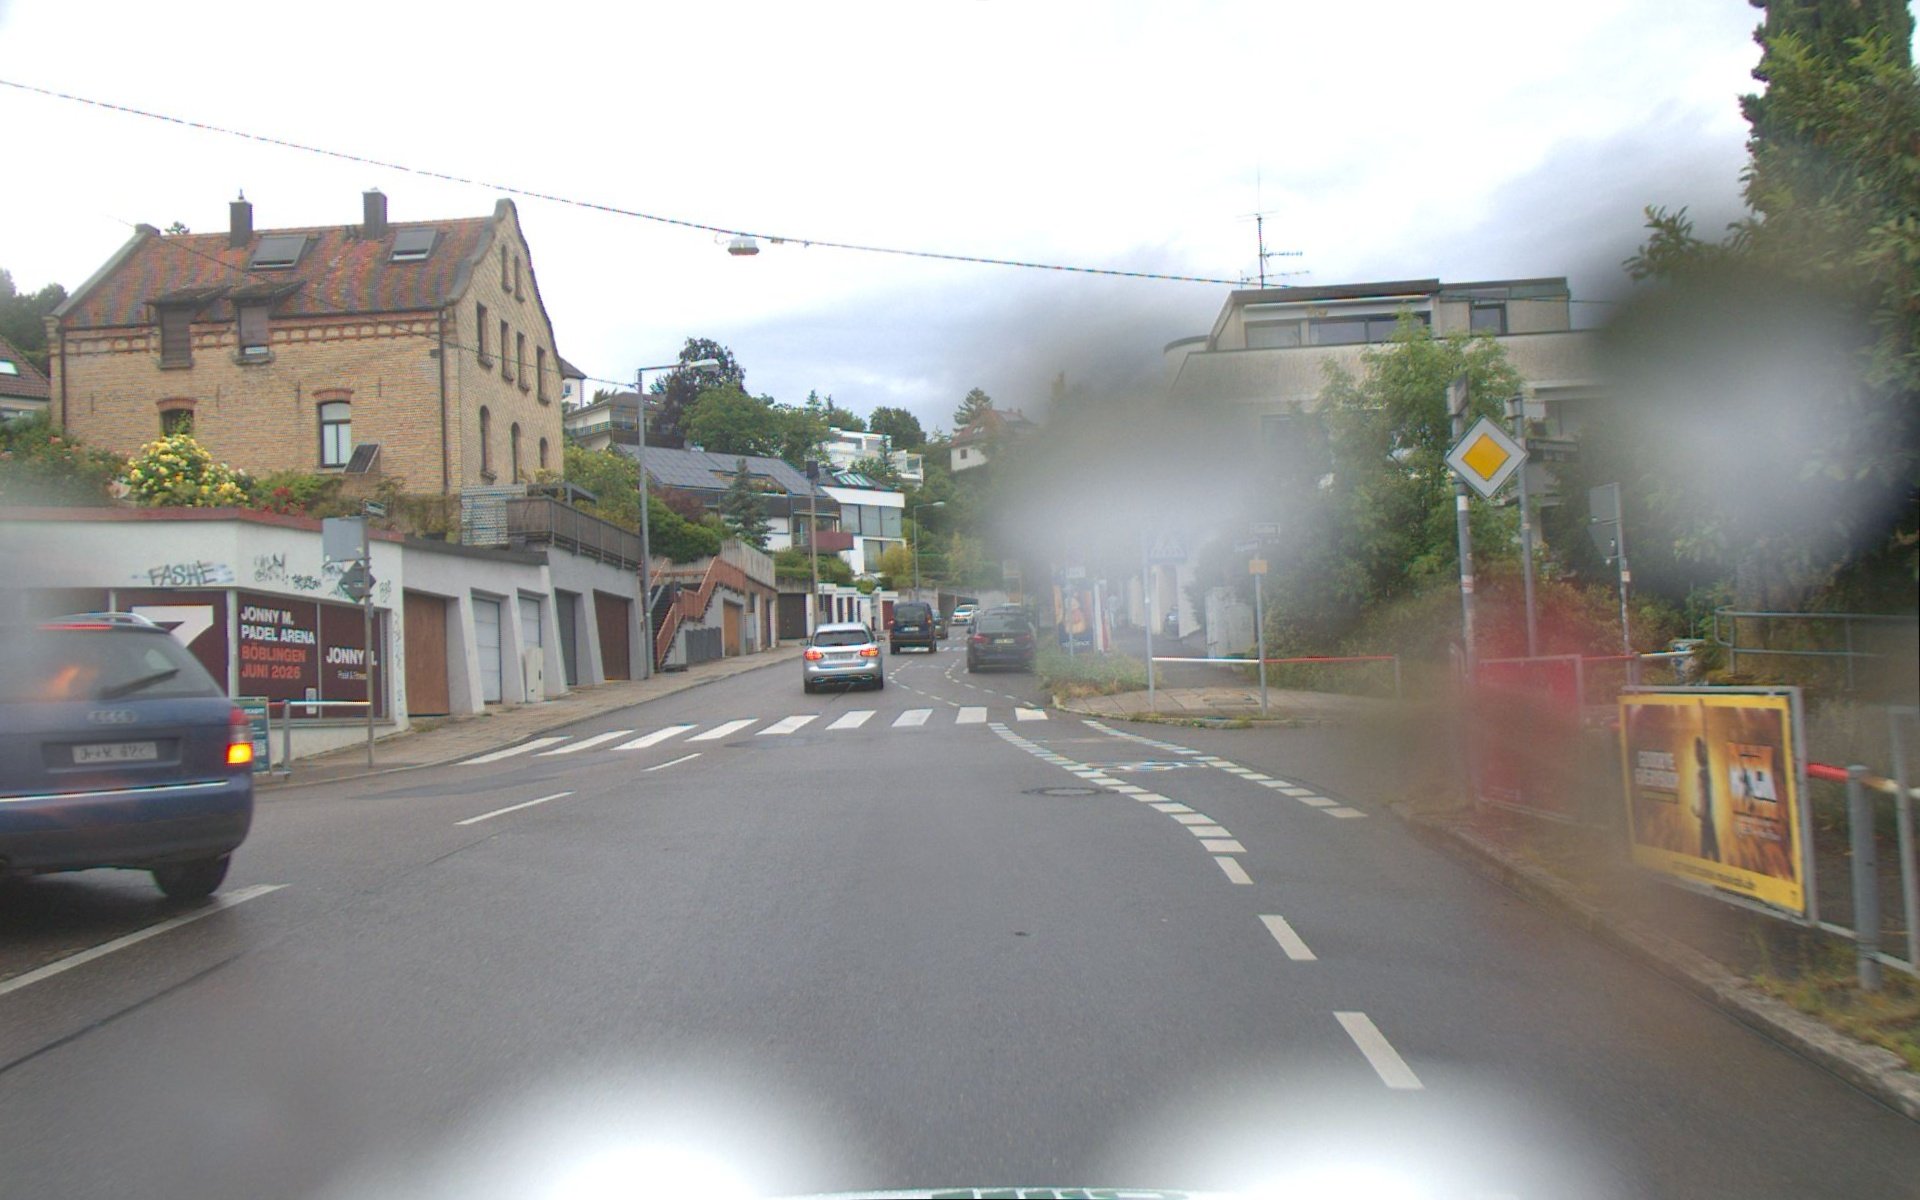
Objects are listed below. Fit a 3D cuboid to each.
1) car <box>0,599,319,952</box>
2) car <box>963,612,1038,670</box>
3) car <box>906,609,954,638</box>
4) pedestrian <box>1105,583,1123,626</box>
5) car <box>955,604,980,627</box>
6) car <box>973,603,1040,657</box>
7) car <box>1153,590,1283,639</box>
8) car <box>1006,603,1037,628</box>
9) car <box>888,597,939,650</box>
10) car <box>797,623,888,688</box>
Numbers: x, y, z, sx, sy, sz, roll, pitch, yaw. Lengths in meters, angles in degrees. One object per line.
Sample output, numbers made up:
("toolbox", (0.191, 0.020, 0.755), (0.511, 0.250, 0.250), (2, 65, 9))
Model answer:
("car", (-5.206, 0.811, 8.569), (4.004, 1.465, 1.808), (-3, -2, 40))
("car", (1.037, 1.060, 44.193), (1.735, 1.401, 4.347), (-2, 0, -2))
("car", (-1.433, 1.118, 80.090), (1.785, 1.319, 4.003), (-2, 0, 6))
("pedestrian", (6.580, 0.186, 70.666), (0.625, 1.826, 0.744), (-2, 0, -1))
("car", (0.576, 1.122, 122.607), (1.692, 1.635, 3.550), (-1, -1, 3))
("car", (1.349, 0.874, 49.351), (1.681, 1.476, 3.831), (-2, 0, -3))
("car", (8.302, 0.475, 53.068), (3.902, 1.440, 1.726), (-2, -1, 16))
("car", (3.358, 0.810, 90.009), (1.438, 1.276, 3.584), (-2, 0, 6))
("car", (-1.698, 0.858, 61.112), (1.787, 1.851, 3.999), (-2, 0, -1))
("car", (-2.686, 1.242, 37.146), (1.777, 1.385, 3.992), (0, -2, -8))
